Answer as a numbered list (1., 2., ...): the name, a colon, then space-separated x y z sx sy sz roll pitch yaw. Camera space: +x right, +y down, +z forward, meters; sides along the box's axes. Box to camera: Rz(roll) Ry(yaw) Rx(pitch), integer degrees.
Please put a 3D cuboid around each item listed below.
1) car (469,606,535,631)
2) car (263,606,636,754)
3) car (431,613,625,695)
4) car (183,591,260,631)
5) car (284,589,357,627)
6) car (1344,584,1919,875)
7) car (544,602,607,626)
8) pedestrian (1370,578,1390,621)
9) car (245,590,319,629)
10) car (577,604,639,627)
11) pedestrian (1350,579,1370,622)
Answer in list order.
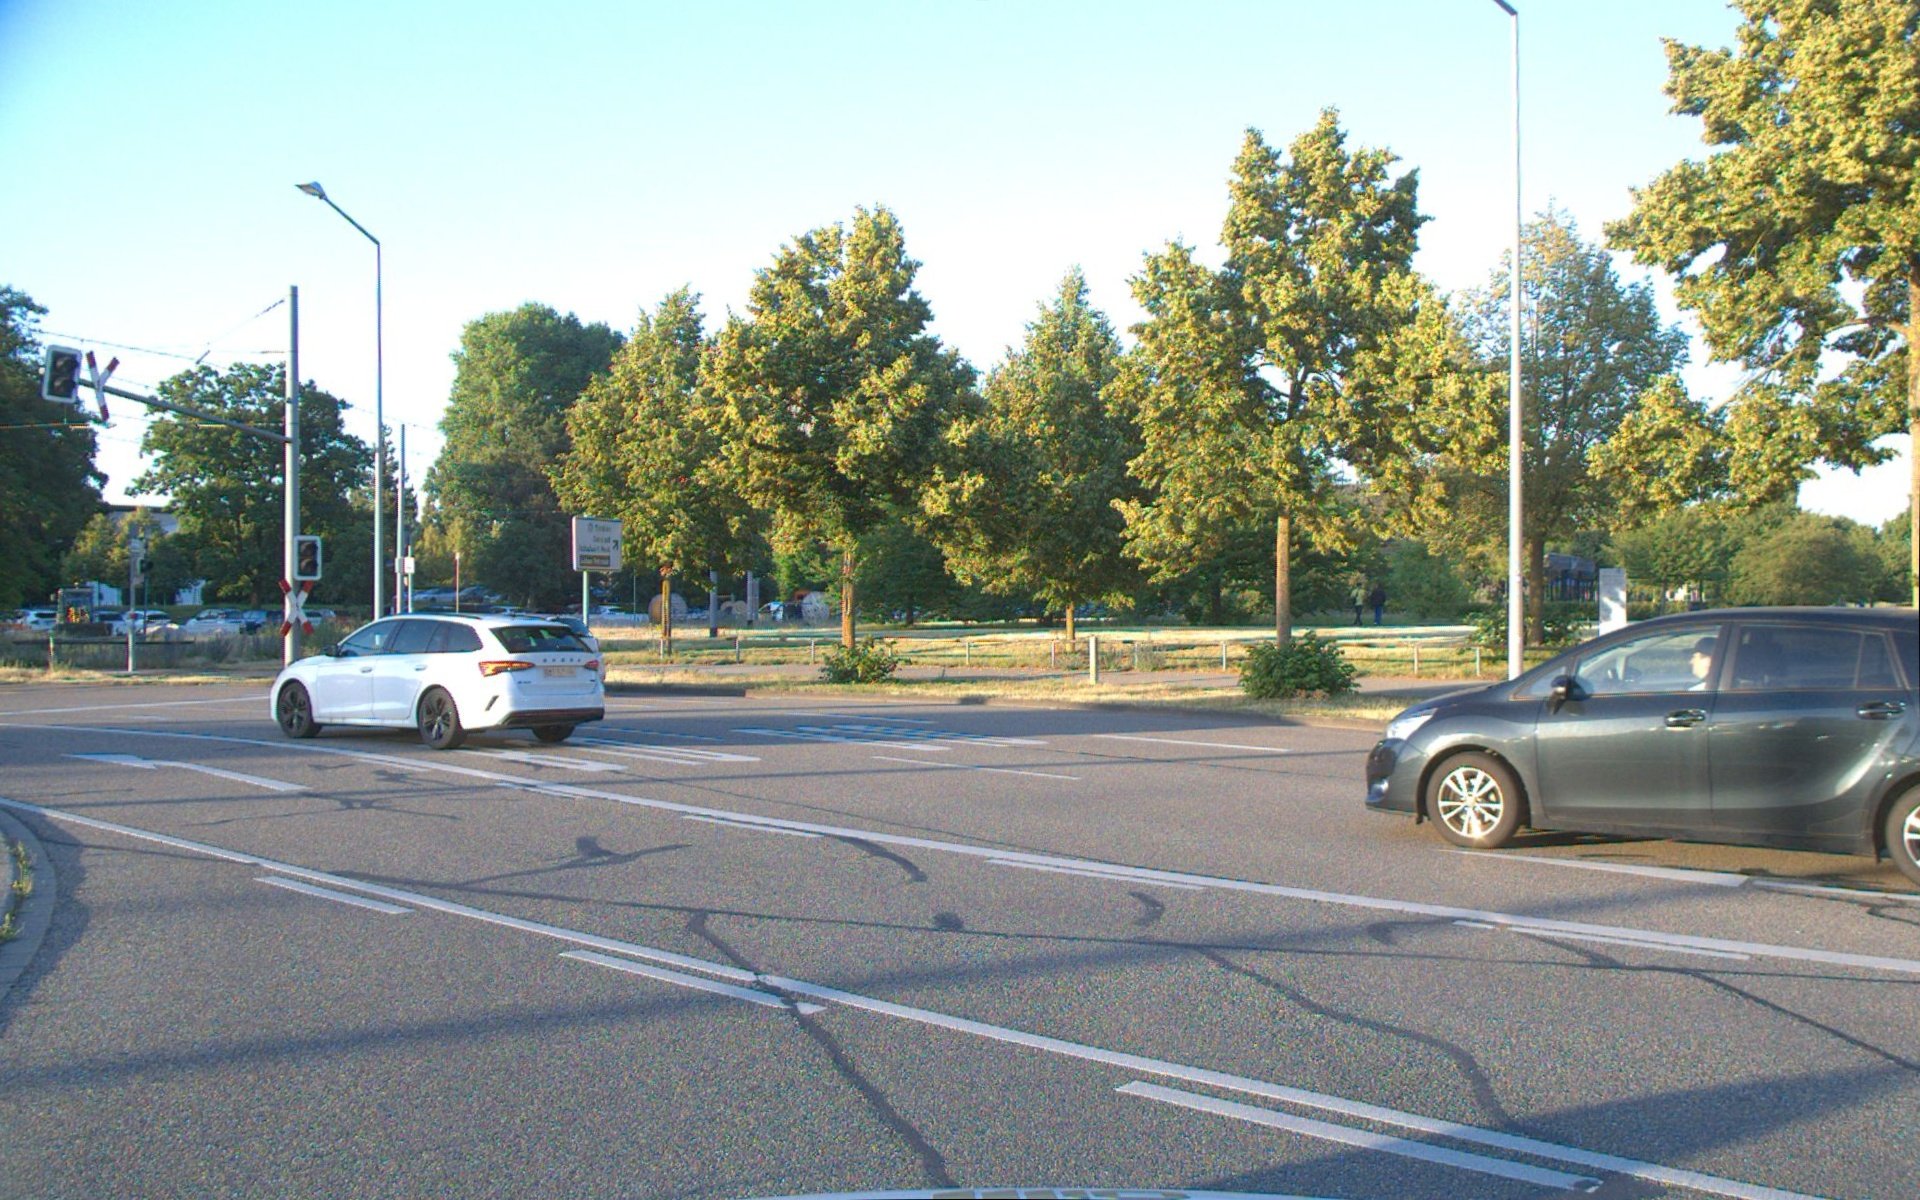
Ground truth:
1. car: -29.756 1.209 107.396 3.913 1.578 1.996 0 0 30
2. car: -5.931 0.831 18.996 4.456 1.474 1.722 0 1 35
3. car: -8.136 0.980 31.103 3.410 1.468 1.551 0 -1 29
4. car: -40.525 0.579 90.771 3.914 2.135 1.995 0 0 31
5. car: -36.976 0.461 95.655 3.914 2.135 1.995 0 0 31
6. car: 4.940 0.755 10.908 4.362 1.662 1.798 0 -1 33
7. car: -26.404 0.948 113.620 3.913 1.578 1.996 0 0 30
8. pedestrian: 16.269 -0.005 64.017 0.521 1.655 0.616 0 0 42
9. car: -38.361 0.513 93.557 3.914 2.135 1.995 0 0 31
10. car: -24.641 1.063 115.758 3.913 1.578 1.996 0 0 30
11. pedestrian: 15.494 0.010 64.106 0.575 1.655 0.526 0 0 -38
